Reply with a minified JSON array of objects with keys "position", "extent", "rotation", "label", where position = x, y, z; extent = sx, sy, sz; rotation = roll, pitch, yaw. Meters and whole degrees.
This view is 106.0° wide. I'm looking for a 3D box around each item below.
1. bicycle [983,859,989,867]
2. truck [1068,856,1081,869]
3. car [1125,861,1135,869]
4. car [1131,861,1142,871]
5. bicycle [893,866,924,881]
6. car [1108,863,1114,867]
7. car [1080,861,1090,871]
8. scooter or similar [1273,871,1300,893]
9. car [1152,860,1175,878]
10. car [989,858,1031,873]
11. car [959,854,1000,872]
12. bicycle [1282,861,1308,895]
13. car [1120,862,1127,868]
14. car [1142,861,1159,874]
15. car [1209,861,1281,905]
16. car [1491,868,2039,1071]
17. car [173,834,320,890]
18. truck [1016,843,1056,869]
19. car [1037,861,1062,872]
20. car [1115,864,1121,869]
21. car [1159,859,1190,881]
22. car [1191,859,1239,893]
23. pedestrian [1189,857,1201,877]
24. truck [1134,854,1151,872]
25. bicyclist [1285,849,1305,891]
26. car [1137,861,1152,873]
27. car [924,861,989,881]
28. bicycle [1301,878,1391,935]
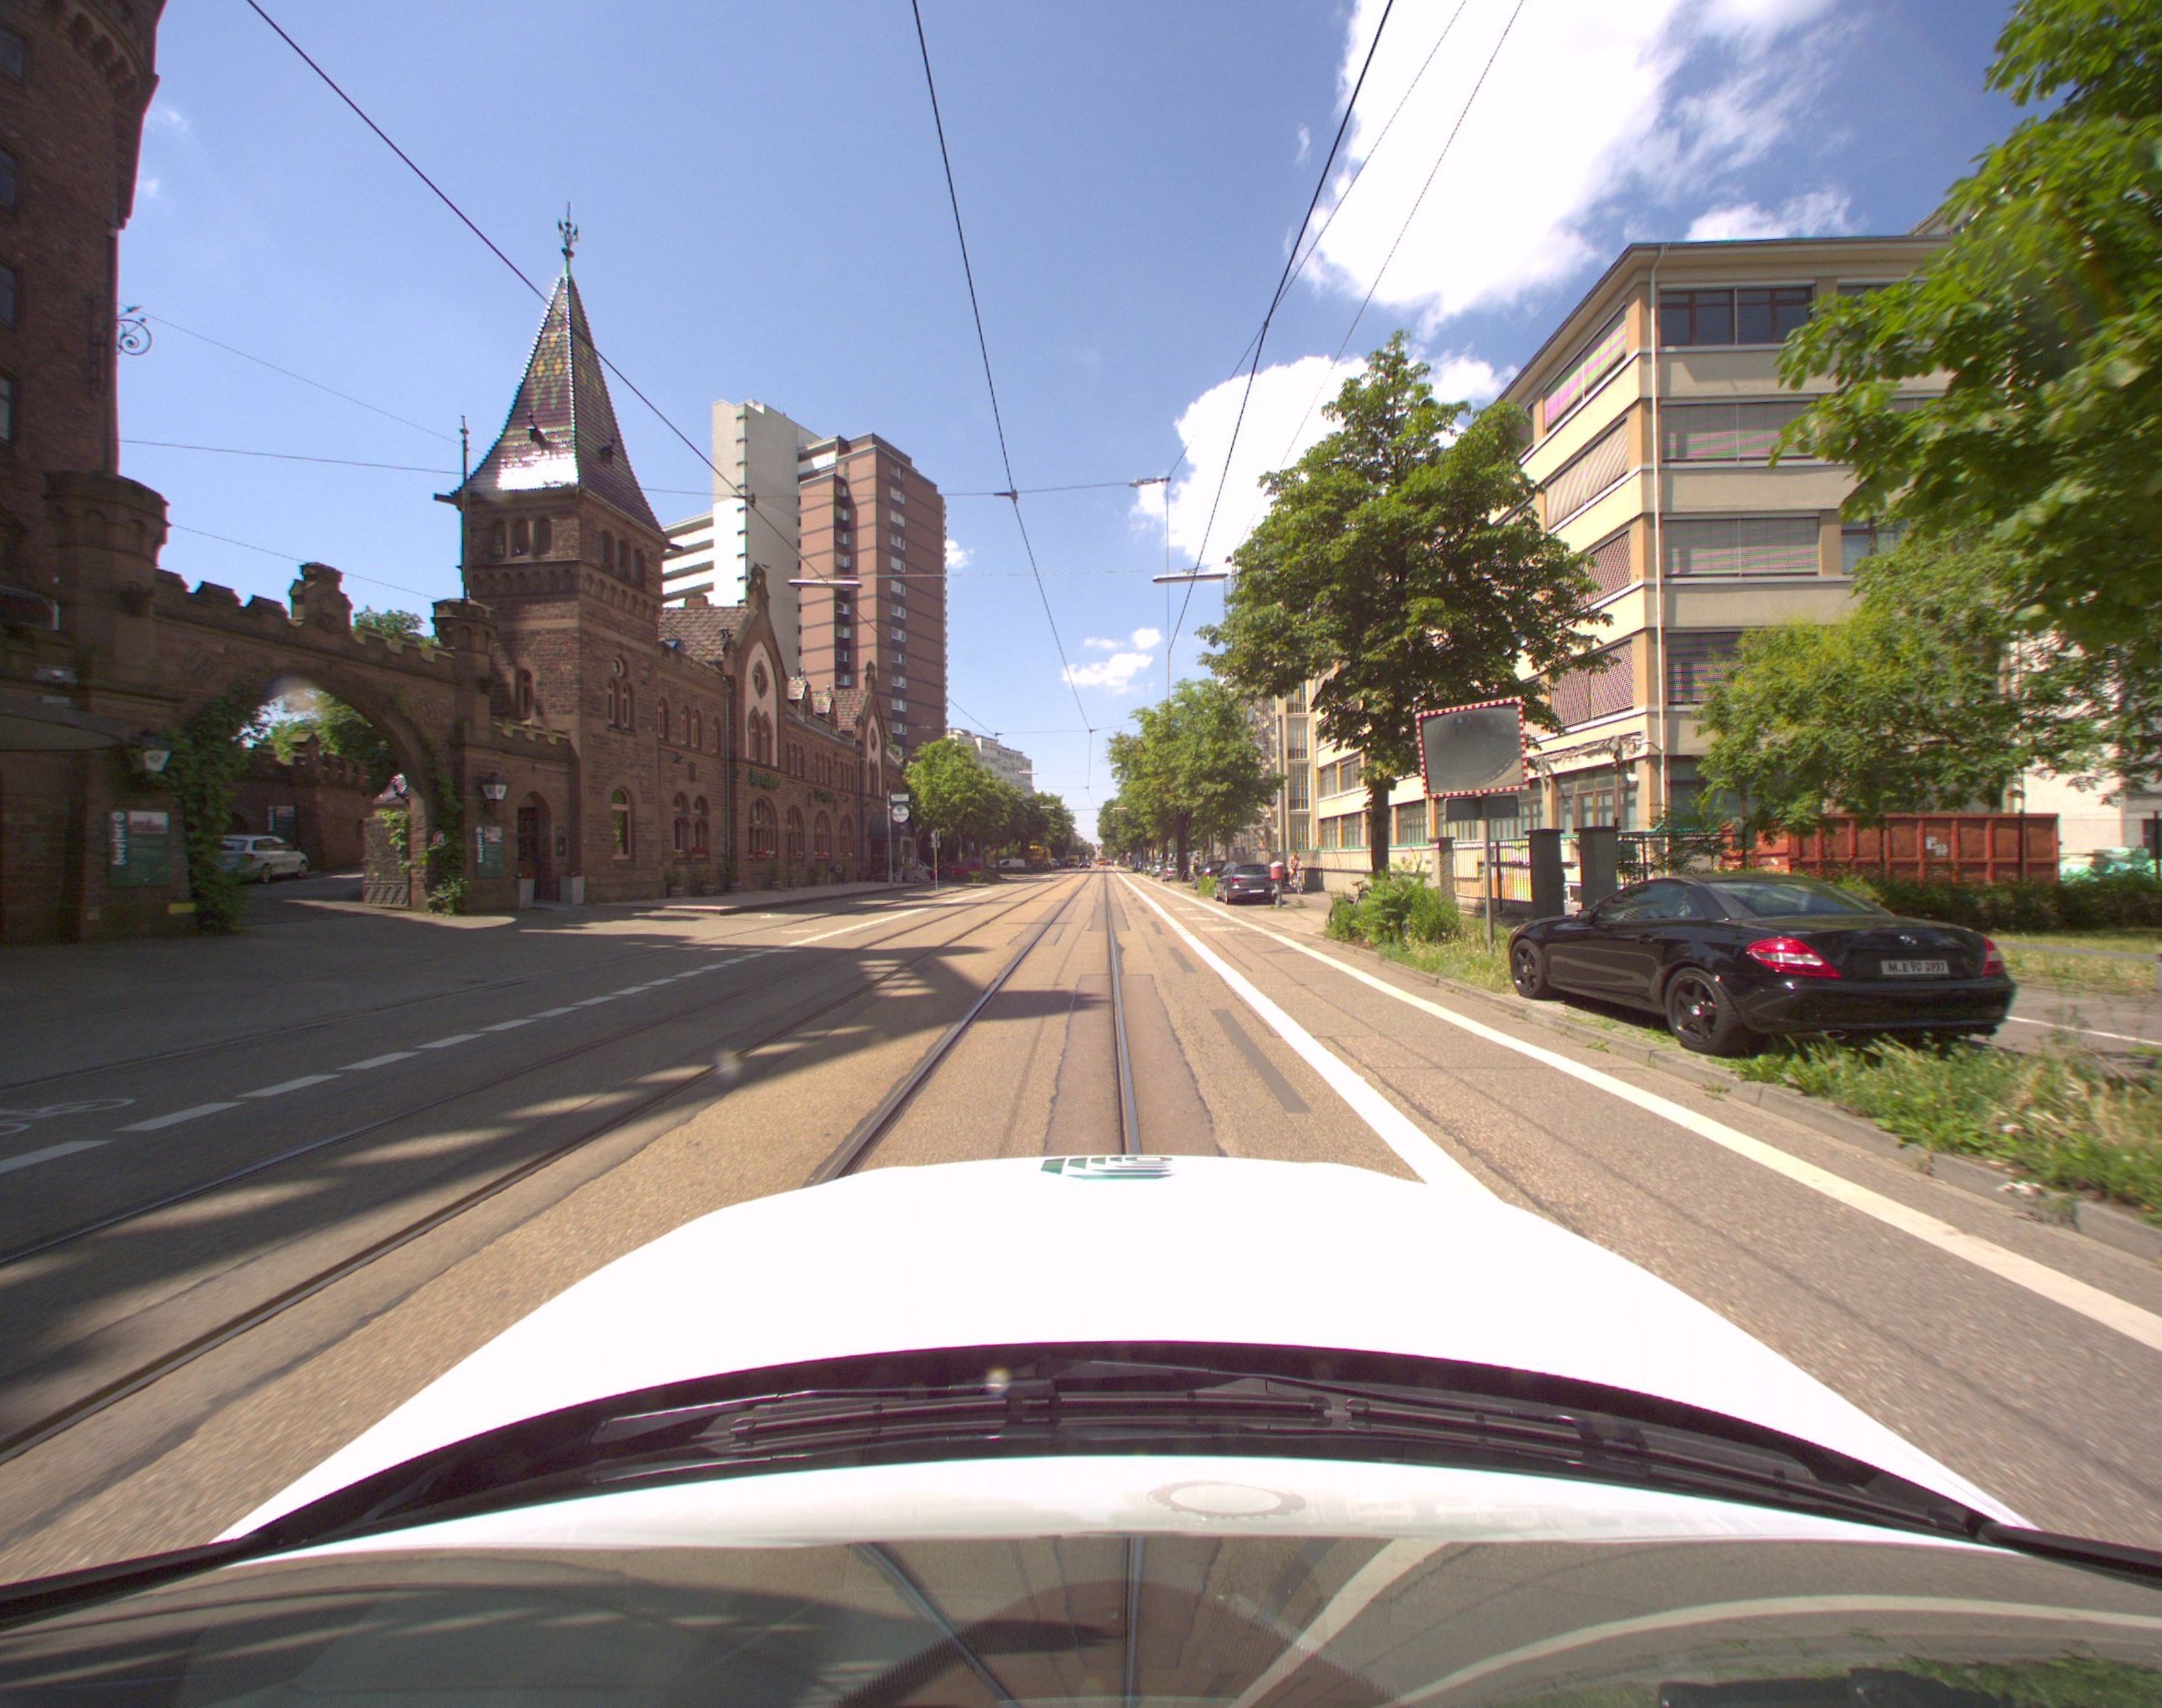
[{"position":[-11.977,1.147,102.323],"extent":[0.516,1.047,1.875],"rotation":[0,-1,0],"label":"bicycle"},{"position":[-1.383,1.834,183.282],"extent":[2.350,2.852,7.384],"rotation":[-2,-1,3],"label":"truck"},{"position":[9.969,2.235,167.063],"extent":[1.634,1.485,3.870],"rotation":[-2,-1,-1],"label":"car"},{"position":[9.064,1.950,133.270],"extent":[1.637,1.534,3.788],"rotation":[-1,-1,3],"label":"car"},{"position":[-11.978,1.349,56.503],"extent":[1.999,0.891,0.594],"rotation":[4,-1,-16],"label":"bicycle"},{"position":[9.259,3.434,253.465],"extent":[1.774,1.346,3.417],"rotation":[-1,-1,2],"label":"car"},{"position":[0.815,2.288,155.488],"extent":[1.824,1.681,4.186],"rotation":[-1,-1,2],"label":"car"},{"position":[8.611,1.166,34.125],"extent":[0.759,0.807,1.556],"rotation":[-3,-1,2],"label":"scooter or similar"},{"position":[7.264,1.275,72.393],"extent":[1.665,1.517,4.201],"rotation":[-1,-1,1],"label":"car"},{"position":[-8.499,1.412,97.505],"extent":[4.563,1.791,1.882],"rotation":[1,-1,-31],"label":"car"},{"position":[-14.763,1.365,119.024],"extent":[2.157,2.566,6.765],"rotation":[-1,-2,31],"label":"car"},{"position":[8.513,0.934,32.461],"extent":[0.552,1.265,1.774],"rotation":[-4,-1,2],"label":"bicycle"},{"position":[10.948,2.798,208.121],"extent":[1.586,1.617,3.908],"rotation":[-2,-1,1],"label":"car"},{"position":[7.807,1.504,91.947],"extent":[1.817,1.471,4.489],"rotation":[-1,-1,3],"label":"car"},{"position":[5.726,0.961,28.984],"extent":[1.665,1.408,4.749],"rotation":[-1,0,1],"label":"car"},{"position":[5.420,0.784,7.227],"extent":[1.745,1.270,3.835],"rotation":[0,-1,2],"label":"car"},{"position":[-26.272,0.198,25.838],"extent":[1.761,1.494,3.972],"rotation":[1,3,-22],"label":"car"},{"position":[-6.907,0.342,127.117],"extent":[2.695,3.842,11.008],"rotation":[0,-1,16],"label":"truck"},{"position":[-6.002,2.398,156.615],"extent":[1.897,1.935,4.785],"rotation":[-4,-2,44],"label":"car"},{"position":[11.127,3.722,245.624],"extent":[1.704,1.423,4.310],"rotation":[-2,-1,1],"label":"car"},{"position":[6.766,1.152,59.408],"extent":[1.667,1.499,4.363],"rotation":[-1,-1,-1],"label":"car"},{"position":[6.344,1.005,38.968],"extent":[1.665,1.489,3.981],"rotation":[-1,-1,1],"label":"car"},{"position":[9.469,1.068,67.435],"extent":[0.797,1.589,0.919],"rotation":[-3,-1,0],"label":"pedestrian"},{"position":[8.553,1.270,113.512],"extent":[2.007,2.489,5.957],"rotation":[-1,-1,1],"label":"truck"},{"position":[8.501,0.625,32.315],"extent":[0.578,1.648,0.599],"rotation":[-3,-1,1],"label":"bicyclist"},{"position":[7.978,1.617,102.860],"extent":[1.816,1.471,4.405],"rotation":[-1,-1,4],"label":"car"},{"position":[-9.936,1.333,64.945],"extent":[4.791,1.566,1.984],"rotation":[0,-1,-27],"label":"car"},{"position":[5.220,1.034,16.083],"extent":[1.580,1.060,0.562],"rotation":[-1,-1,0],"label":"bicycle"}]
